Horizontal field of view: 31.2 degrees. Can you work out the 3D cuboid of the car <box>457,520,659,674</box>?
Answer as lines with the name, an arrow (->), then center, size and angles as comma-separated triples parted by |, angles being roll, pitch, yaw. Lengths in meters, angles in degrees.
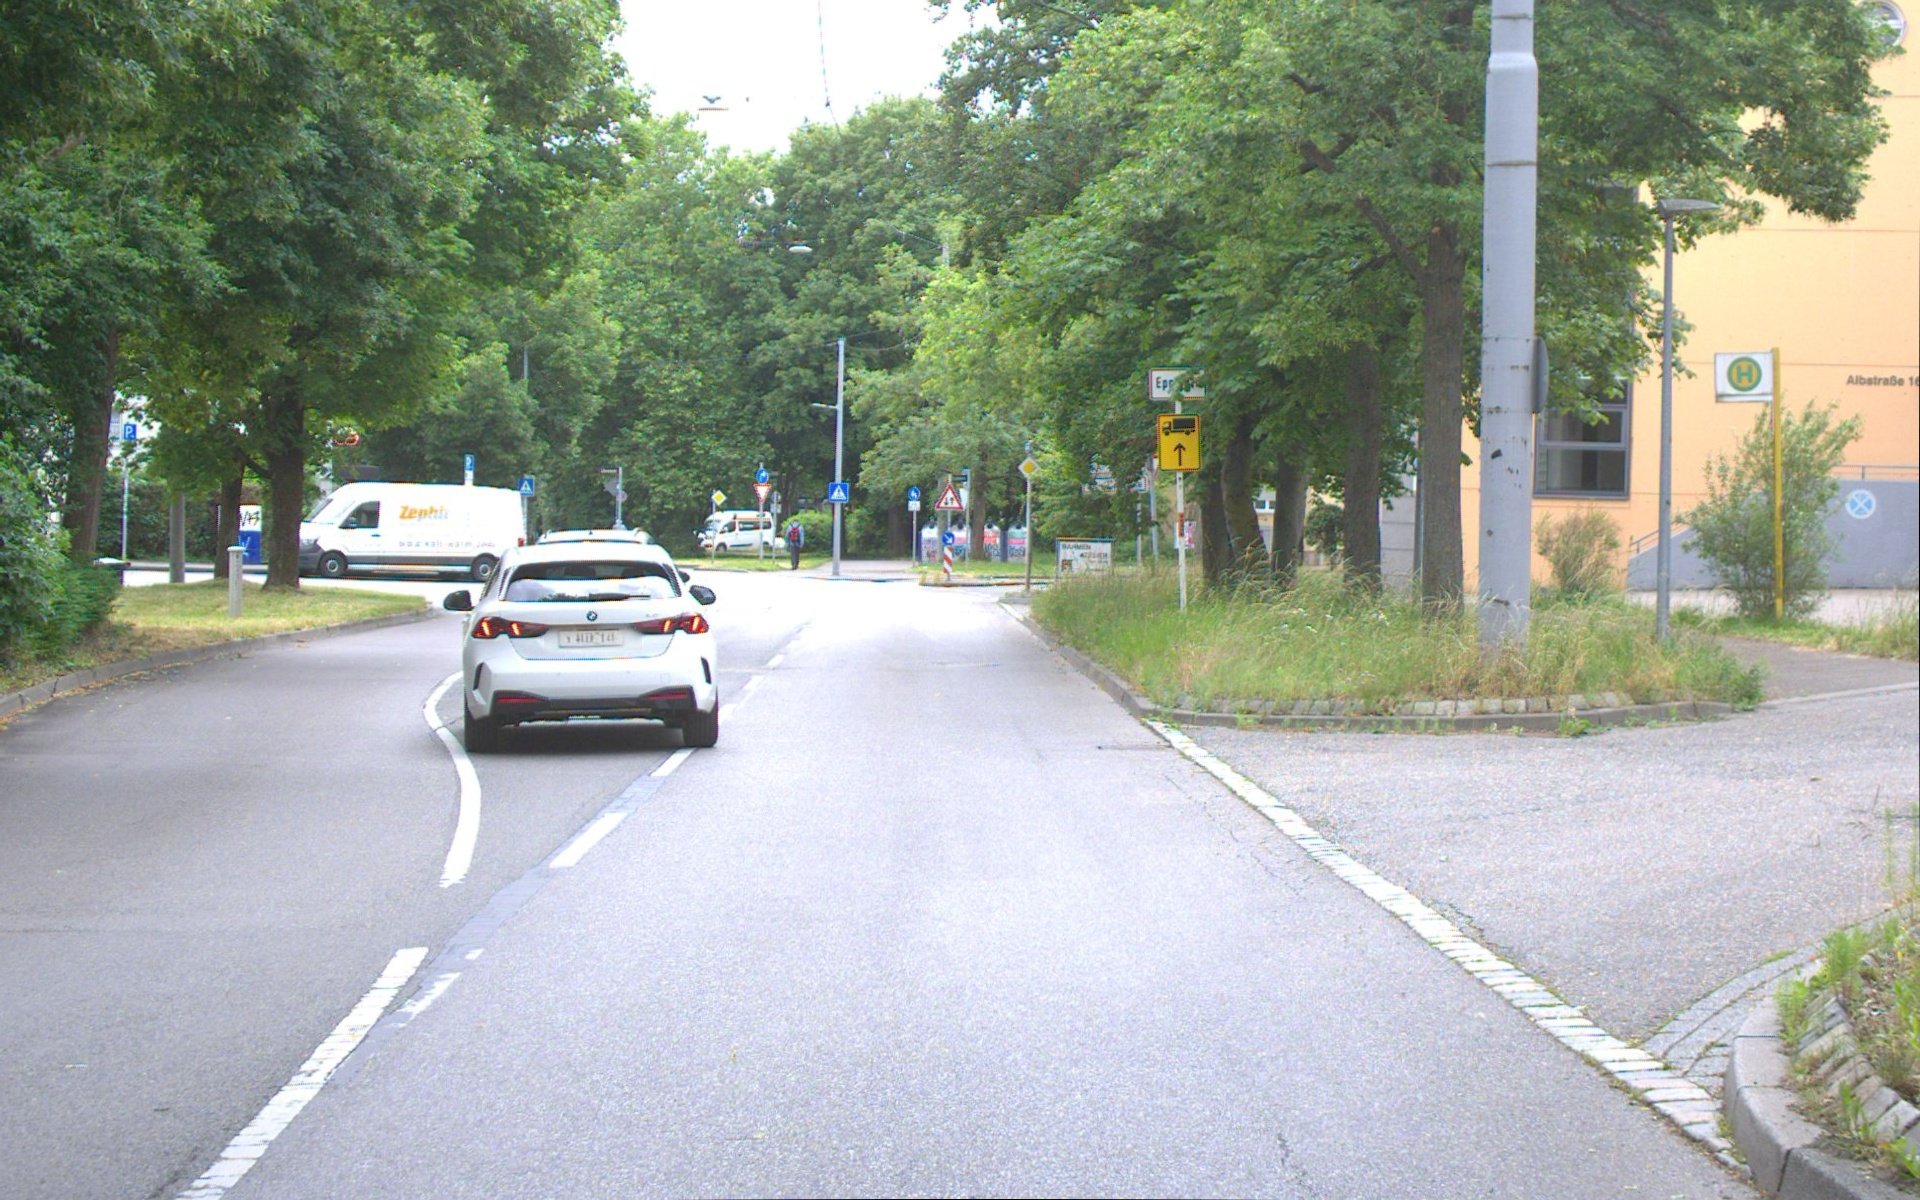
car -> -4.409, -0.082, 38.170 | 1.923, 1.568, 4.001 | 1, 2, -3

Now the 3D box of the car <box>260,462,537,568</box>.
car -> -14.803, -2.222, 90.932 | 6.959, 2.513, 2.084 | 1, 3, -38

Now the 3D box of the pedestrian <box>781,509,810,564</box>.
pedestrian -> -5.835, -2.246, 121.676 | 0.923, 1.865, 1.019 | -3, 4, -4

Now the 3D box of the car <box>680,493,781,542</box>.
car -> -12.156, -4.382, 182.437 | 2.136, 2.289, 5.373 | 5, 2, 38

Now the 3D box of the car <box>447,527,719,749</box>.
car -> -2.721, 0.222, 25.617 | 1.795, 1.512, 4.208 | 0, 1, -3
